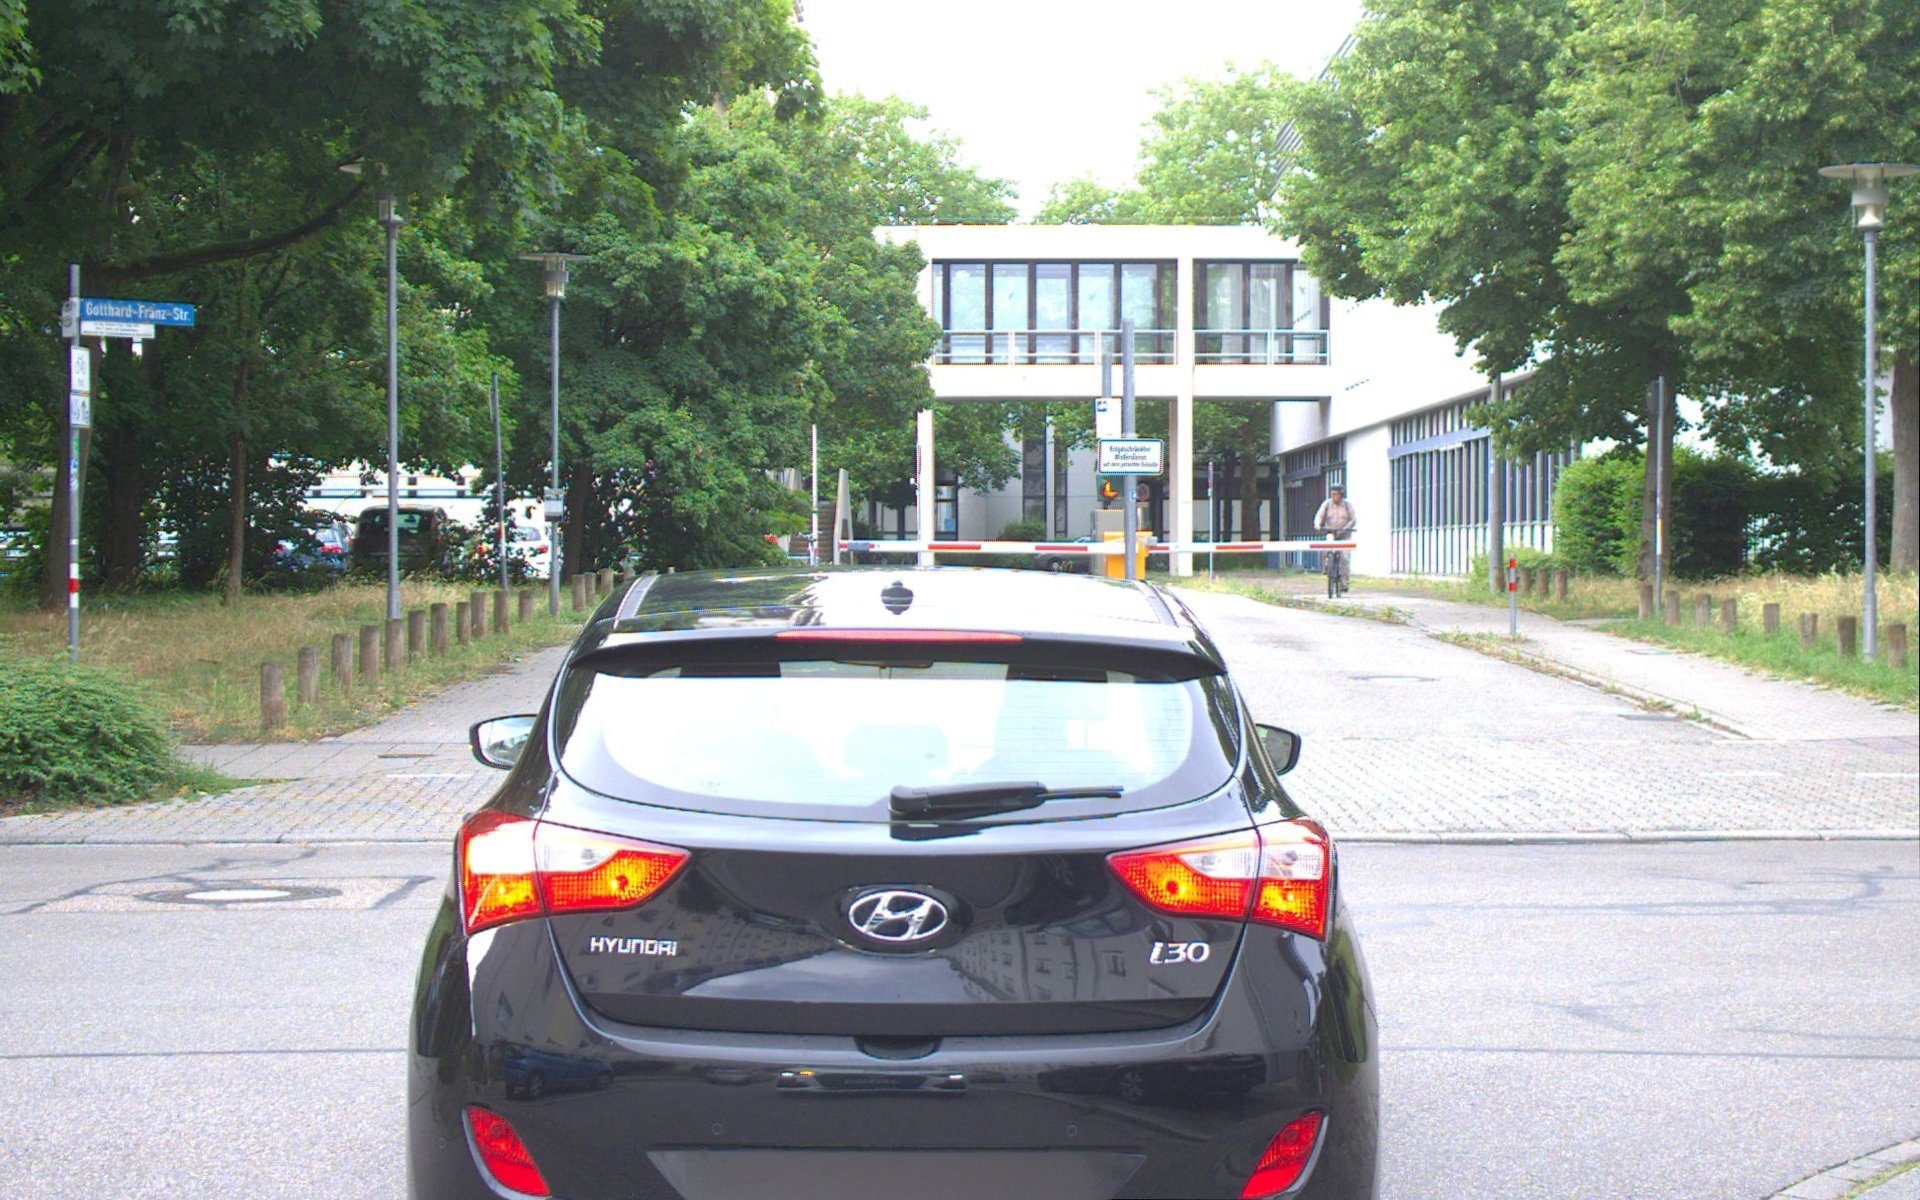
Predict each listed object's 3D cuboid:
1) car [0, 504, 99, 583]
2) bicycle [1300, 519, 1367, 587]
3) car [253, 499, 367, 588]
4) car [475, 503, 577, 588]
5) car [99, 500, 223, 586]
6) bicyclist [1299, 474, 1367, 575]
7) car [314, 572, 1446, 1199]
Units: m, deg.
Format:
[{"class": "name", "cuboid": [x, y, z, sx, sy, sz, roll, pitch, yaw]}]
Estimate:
[{"class": "car", "cuboid": [-19.657, -1.207, 73.062, 1.993, 1.612, 4.001, 0, 1, -5]}, {"class": "bicycle", "cuboid": [6.088, -0.775, 56.062, 0.866, 1.071, 2.142, 0, 2, 0]}, {"class": "car", "cuboid": [-13.833, -1.176, 73.355, 1.993, 1.788, 4.000, 0, 0, -5]}, {"class": "car", "cuboid": [-9.237, -1.148, 73.443, 1.993, 1.756, 4.001, 0, 0, -5]}, {"class": "car", "cuboid": [-16.935, -1.192, 73.009, 1.993, 1.722, 4.000, 0, -1, -5]}, {"class": "bicyclist", "cuboid": [6.069, -1.235, 55.965, 1.017, 1.639, 0.923, 0, 2, 0]}, {"class": "car", "cuboid": [-0.229, 0.684, 7.533, 1.846, 1.457, 3.828, 0, 1, -3]}]
